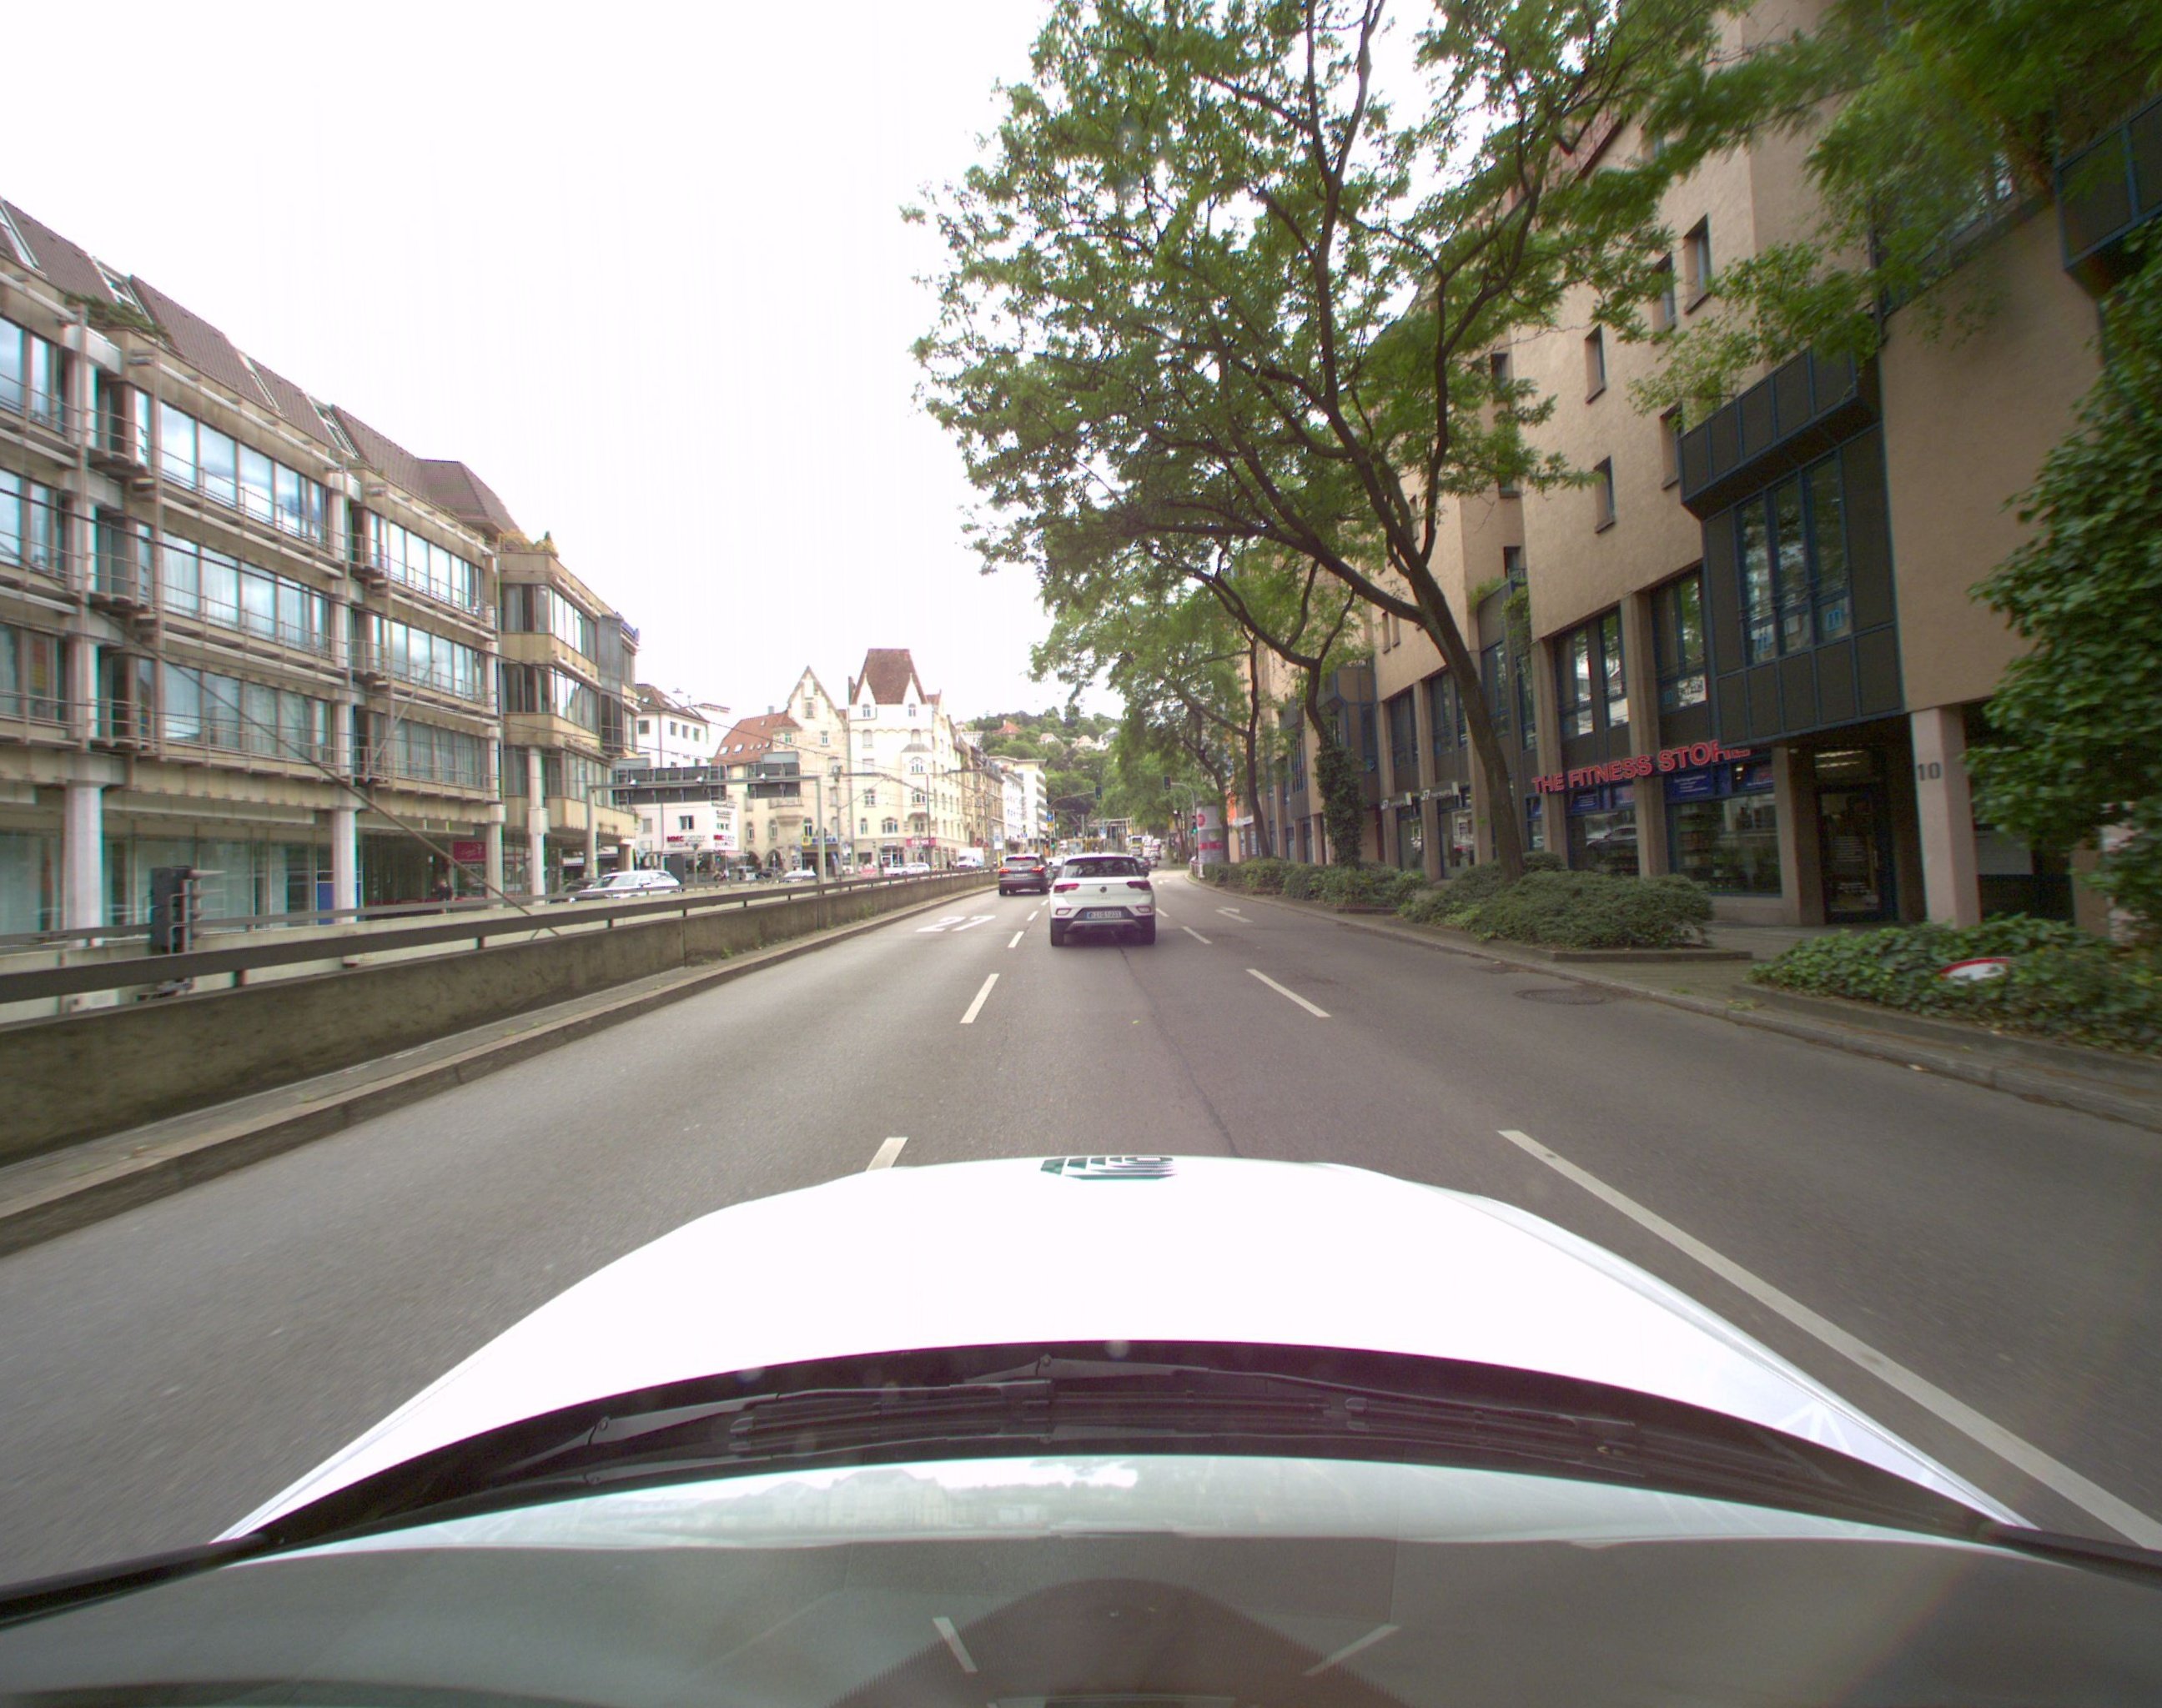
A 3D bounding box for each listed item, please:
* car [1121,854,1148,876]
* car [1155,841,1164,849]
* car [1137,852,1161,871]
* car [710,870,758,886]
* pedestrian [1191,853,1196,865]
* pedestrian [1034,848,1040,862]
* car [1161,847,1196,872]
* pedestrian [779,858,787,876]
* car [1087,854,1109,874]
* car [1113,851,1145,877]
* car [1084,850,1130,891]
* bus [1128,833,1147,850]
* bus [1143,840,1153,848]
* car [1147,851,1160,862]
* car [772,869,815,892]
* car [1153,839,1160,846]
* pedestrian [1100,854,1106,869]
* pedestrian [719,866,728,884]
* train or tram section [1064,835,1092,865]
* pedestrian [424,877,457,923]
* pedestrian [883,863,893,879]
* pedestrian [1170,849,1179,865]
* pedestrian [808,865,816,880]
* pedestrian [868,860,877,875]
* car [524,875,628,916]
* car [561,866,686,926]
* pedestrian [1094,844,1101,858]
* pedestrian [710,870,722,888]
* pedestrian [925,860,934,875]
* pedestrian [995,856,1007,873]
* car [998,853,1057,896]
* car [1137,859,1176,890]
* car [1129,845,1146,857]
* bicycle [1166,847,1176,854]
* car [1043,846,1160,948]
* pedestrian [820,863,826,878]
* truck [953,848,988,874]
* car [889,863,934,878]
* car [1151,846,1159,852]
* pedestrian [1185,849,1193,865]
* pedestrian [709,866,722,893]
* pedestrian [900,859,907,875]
[{"bbox_3d":[5.265,1.038,79.502,2.352,2.014,5.157,-1,0,6],"label":"car"},{"bbox_3d":[20.277,-2.339,210.772,1.985,2.014,4.002,-1,-1,2],"label":"car"},{"bbox_3d":[7.738,0.855,93.108,2.356,2.014,5.149,-1,0,1],"label":"car"},{"bbox_3d":[-37.022,2.596,86.859,4.466,1.561,1.761,-1,-1,14],"label":"car"},{"bbox_3d":[12.541,0.596,91.021,0.469,1.333,0.520,-1,-1,2],"label":"pedestrian"},{"bbox_3d":[-5.735,0.098,106.000,0.623,1.762,0.848,-2,0,7],"label":"pedestrian"},{"bbox_3d":[8.245,0.495,69.344,2.356,2.014,5.149,-1,0,1],"label":"car"},{"bbox_3d":[-30.187,1.332,82.472,0.569,1.780,0.515,-2,-1,32],"label":"pedestrian"},{"bbox_3d":[1.527,0.892,74.172,1.879,1.684,4.159,-1,0,-1],"label":"car"},{"bbox_3d":[3.231,0.653,55.950,1.879,1.684,4.159,-1,0,-1],"label":"car"},{"bbox_3d":[1.120,0.718,36.565,1.879,1.684,4.159,-1,0,-1],"label":"car"},{"bbox_3d":[11.919,-2.545,170.689,3.355,3.064,13.345,-1,0,6],"label":"bus"},{"bbox_3d":[16.745,-2.476,203.754,1.986,2.014,4.001,-1,-1,1],"label":"bus"},{"bbox_3d":[10.697,0.369,119.881,1.875,1.684,4.168,-1,0,6],"label":"car"},{"bbox_3d":[-21.672,1.976,61.579,1.658,1.501,4.044,-2,0,1],"label":"car"},{"bbox_3d":[17.942,-2.658,193.878,1.665,1.560,3.684,-1,0,6],"label":"car"},{"bbox_3d":[2.518,0.879,92.930,0.632,1.711,0.873,-2,0,6],"label":"pedestrian"},{"bbox_3d":[-35.747,2.082,81.379,0.506,1.780,0.601,-2,-1,18],"label":"pedestrian"},{"bbox_3d":[-0.329,-0.506,102.582,2.820,3.678,5.762,-1,0,6],"label":"train or tram section"},{"bbox_3d":[-26.312,1.885,33.458,0.728,1.811,0.740,-1,-1,0],"label":"pedestrian"},{"bbox_3d":[-22.353,1.951,94.255,0.780,1.780,0.672,-3,-1,36],"label":"pedestrian"},{"bbox_3d":[10.722,0.383,93.407,0.690,1.777,0.690,-7,0,1],"label":"pedestrian"},{"bbox_3d":[-31.462,2.173,95.228,0.580,1.780,0.505,-2,-1,-44],"label":"pedestrian"},{"bbox_3d":[-24.063,1.587,94.031,0.777,1.705,0.655,-2,0,11],"label":"pedestrian"},{"bbox_3d":[-22.033,1.784,35.728,1.658,1.501,4.414,-2,0,1],"label":"car"},{"bbox_3d":[-15.611,1.368,28.115,1.829,1.842,4.600,1,-1,-3],"label":"car"},{"bbox_3d":[2.024,-0.371,98.359,0.682,1.711,0.713,-2,0,5],"label":"pedestrian"},{"bbox_3d":[-35.084,2.376,78.271,0.777,1.705,0.655,-2,0,11],"label":"pedestrian"},{"bbox_3d":[-17.716,1.548,95.193,0.667,1.677,0.695,-2,-1,23],"label":"pedestrian"},{"bbox_3d":[-8.525,1.113,87.017,0.866,1.705,0.817,-2,-1,35],"label":"pedestrian"},{"bbox_3d":[-2.144,0.803,33.785,1.986,1.636,4.002,-2,0,2],"label":"car"},{"bbox_3d":[3.999,1.078,43.703,1.936,1.530,4.004,-1,0,4],"label":"car"},{"bbox_3d":[9.315,-0.492,134.405,2.350,2.014,5.161,-1,0,9],"label":"car"},{"bbox_3d":[16.851,-0.664,152.555,1.868,1.137,0.811,-1,-1,11],"label":"bicycle"},{"bbox_3d":[0.308,0.707,15.065,1.832,1.584,4.155,-1,0,-1],"label":"car"},{"bbox_3d":[-31.000,1.966,97.829,0.575,1.780,0.510,-2,0,-8],"label":"pedestrian"},{"bbox_3d":[-13.698,0.820,101.311,2.254,3.076,7.391,-1,0,8],"label":"truck"},{"bbox_3d":[-18.265,1.761,87.677,1.732,1.560,4.541,-2,-1,44],"label":"car"},{"bbox_3d":[14.702,-0.980,161.341,1.574,1.172,3.684,-1,0,6],"label":"car"},{"bbox_3d":[12.194,0.328,92.010,0.718,1.802,0.835,-4,2,2],"label":"pedestrian"},{"bbox_3d":[-24.679,1.721,55.028,0.507,1.780,0.578,-2,0,8],"label":"pedestrian"},{"bbox_3d":[-20.106,1.484,92.080,0.571,1.780,0.513,-2,-1,11],"label":"pedestrian"}]
